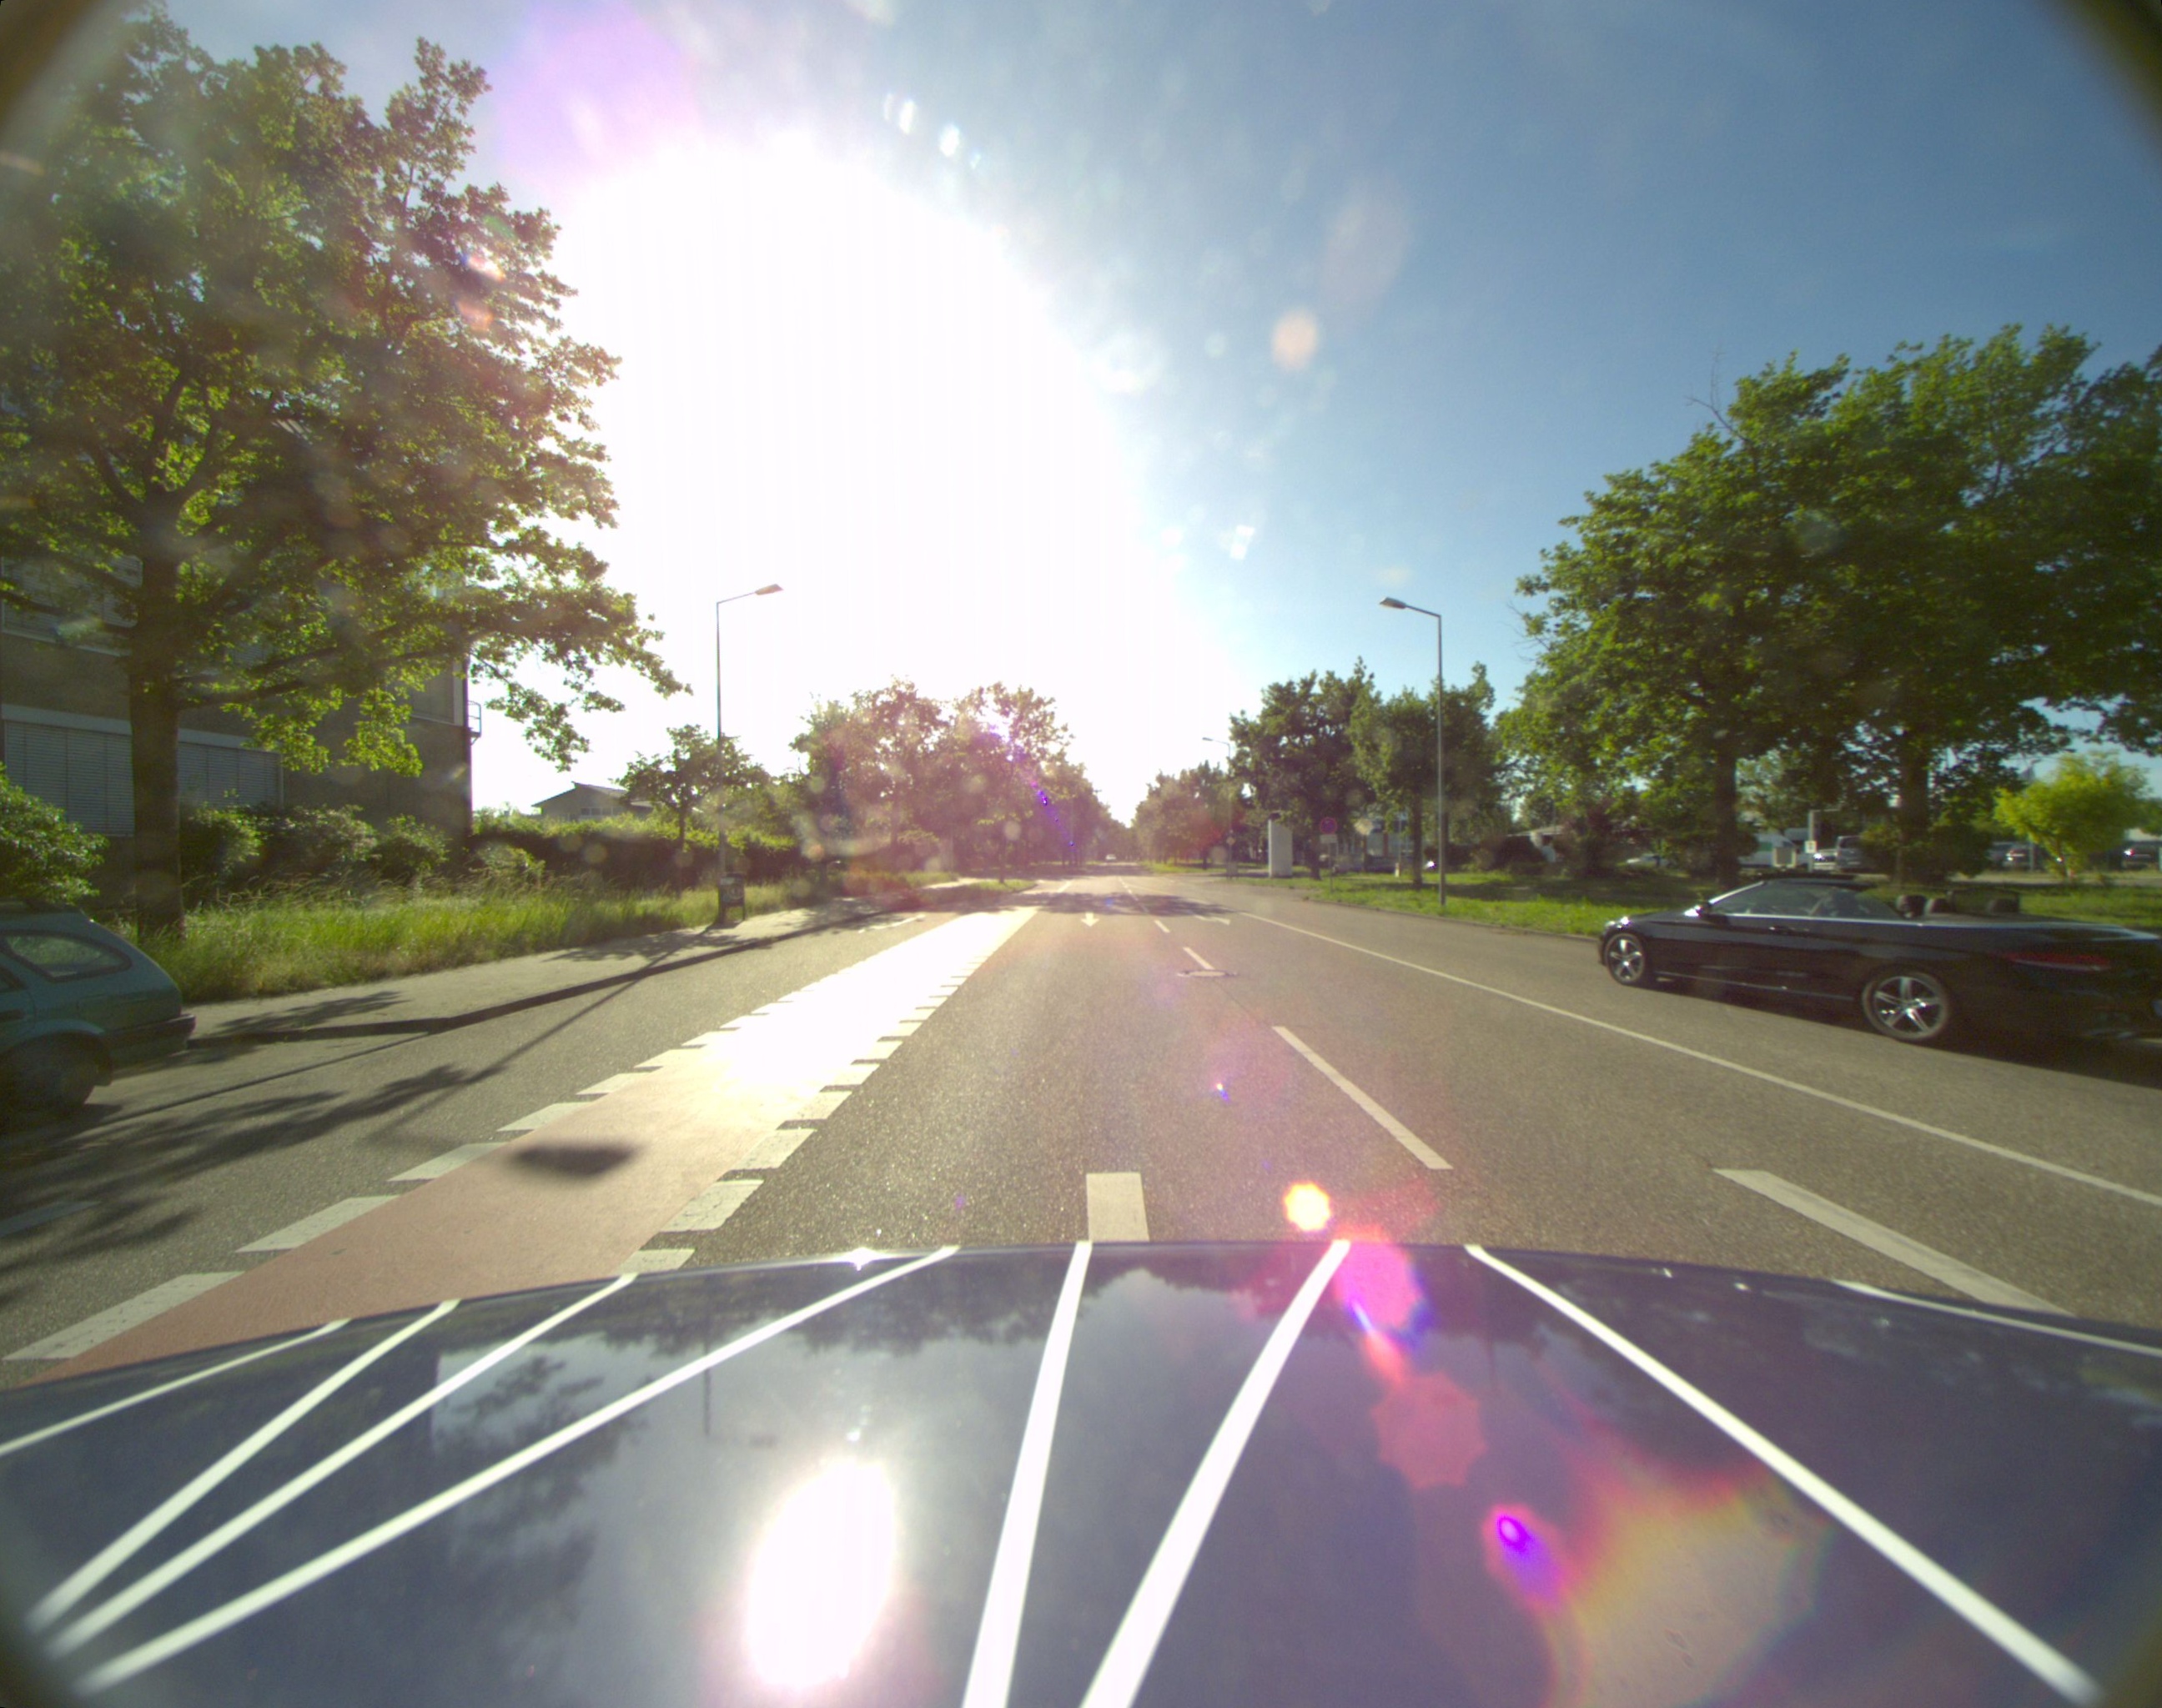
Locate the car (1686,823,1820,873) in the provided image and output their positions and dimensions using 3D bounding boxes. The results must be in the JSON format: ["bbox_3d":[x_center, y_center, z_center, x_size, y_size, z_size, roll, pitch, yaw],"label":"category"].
[{"bbox_3d":[40.261,-0.367,45.582,6.176,2.687,2.300,-2,1,-3],"label":"car"}]

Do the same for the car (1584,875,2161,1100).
[{"bbox_3d":[7.670,0.996,7.507,2.000,1.394,4.585,2,0,-6],"label":"car"}]

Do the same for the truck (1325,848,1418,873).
[{"bbox_3d":[24.672,0.542,64.762,7.130,2.038,2.140,0,1,-2],"label":"truck"}]

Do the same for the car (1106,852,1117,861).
[{"bbox_3d":[5.707,0.411,143.372,1.827,1.477,3.999,-2,1,1],"label":"car"}]

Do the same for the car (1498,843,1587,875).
[{"bbox_3d":[39.908,0.399,65.781,6.356,2.501,2.300,-2,1,-3],"label":"car"}]

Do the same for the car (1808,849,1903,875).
[{"bbox_3d":[41.166,0.395,40.426,3.532,1.294,1.574,-1,0,-2],"label":"car"}]

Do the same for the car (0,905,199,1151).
[{"bbox_3d":[-7.457,1.115,3.591,1.596,1.420,4.204,1,1,2],"label":"car"}]

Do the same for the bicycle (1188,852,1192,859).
[{"bbox_3d":[19.122,0.319,133.356,0.552,1.155,2.334,-2,1,3],"label":"bicycle"}]

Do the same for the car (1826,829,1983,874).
[{"bbox_3d":[40.262,-0.130,37.261,5.424,2.058,2.300,-1,1,-3],"label":"car"}]

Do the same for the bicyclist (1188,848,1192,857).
[{"bbox_3d":[19.098,-0.242,133.373,0.665,1.619,0.659,-2,1,3],"label":"bicyclist"}]
